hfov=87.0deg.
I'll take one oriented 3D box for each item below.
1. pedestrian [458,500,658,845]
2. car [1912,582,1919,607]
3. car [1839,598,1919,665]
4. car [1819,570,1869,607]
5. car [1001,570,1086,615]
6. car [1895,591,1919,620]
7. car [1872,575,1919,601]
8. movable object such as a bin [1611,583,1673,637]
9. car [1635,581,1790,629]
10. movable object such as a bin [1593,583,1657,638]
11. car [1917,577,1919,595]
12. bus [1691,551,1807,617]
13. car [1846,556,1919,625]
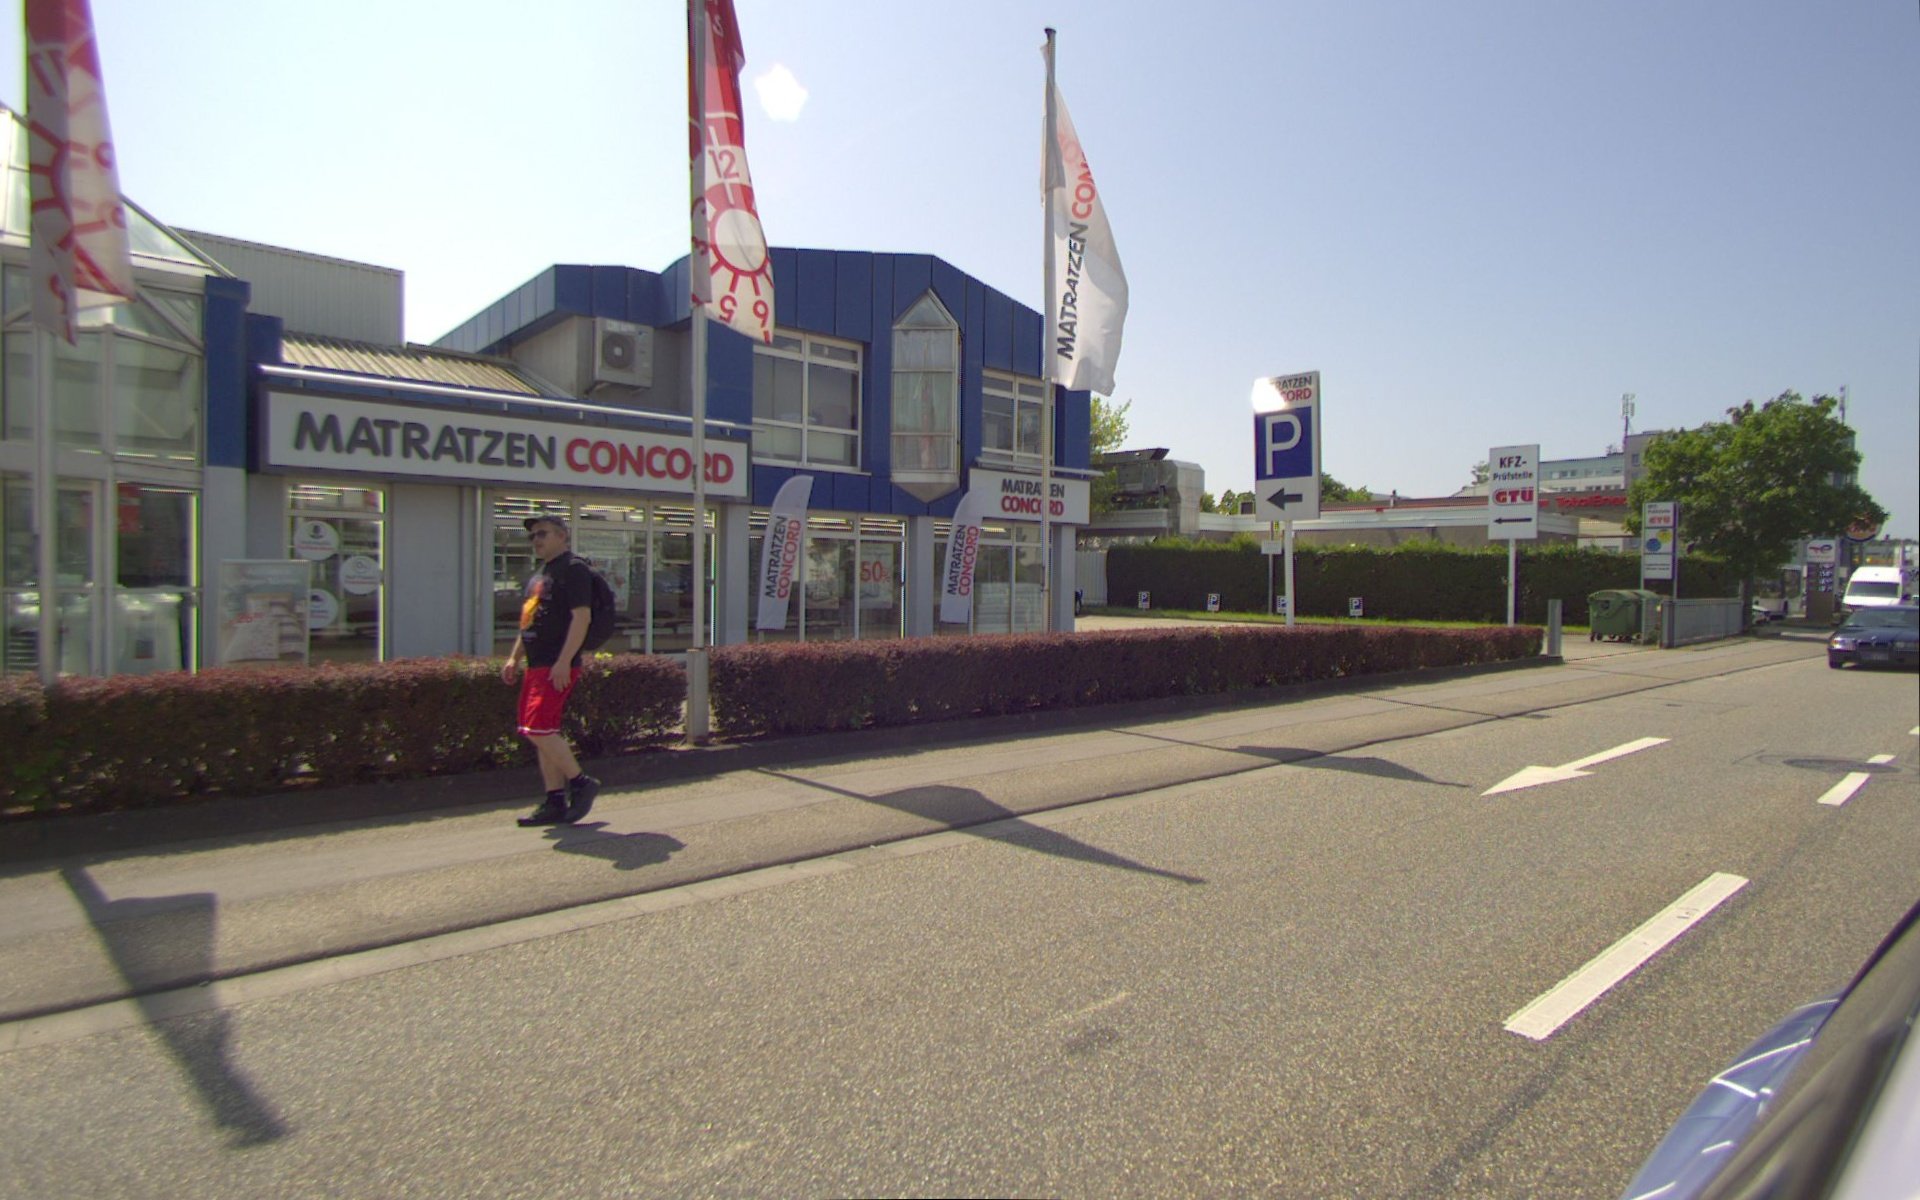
[{"bbox_3d":[-2.421,0.380,6.085,0.919,1.869,0.787,0,1,-39],"label":"pedestrian"},{"bbox_3d":[64.764,-0.314,67.171,3.931,1.600,1.859,0,4,-42],"label":"car"},{"bbox_3d":[20.621,0.645,22.154,3.692,1.356,1.630,0,0,-42],"label":"car"},{"bbox_3d":[61.256,-0.809,70.073,5.482,2.465,2.055,0,2,-43],"label":"car"},{"bbox_3d":[3.070,-0.292,36.520,1.504,1.490,3.957,2,2,30],"label":"car"},{"bbox_3d":[51.686,0.315,54.420,3.776,1.466,1.679,0,4,-43],"label":"car"},{"bbox_3d":[103.454,-1.295,109.809,1.689,2.636,6.905,1,2,-13],"label":"car"},{"bbox_3d":[19.982,0.270,29.630,1.463,1.488,1.133,0,2,-41],"label":"movable object such as a bin"},{"bbox_3d":[30.190,0.160,40.723,1.872,1.545,4.636,0,4,-39],"label":"car"},{"bbox_3d":[18.815,0.277,28.636,1.463,1.488,1.133,0,2,-41],"label":"movable object such as a bin"},{"bbox_3d":[102.028,-1.401,104.957,3.989,1.787,1.698,3,2,44],"label":"car"},{"bbox_3d":[41.295,-0.822,52.840,8.915,3.191,2.756,0,2,-39],"label":"bus"},{"bbox_3d":[41.956,-0.423,45.565,7.153,2.807,2.181,0,4,-42],"label":"car"}]
